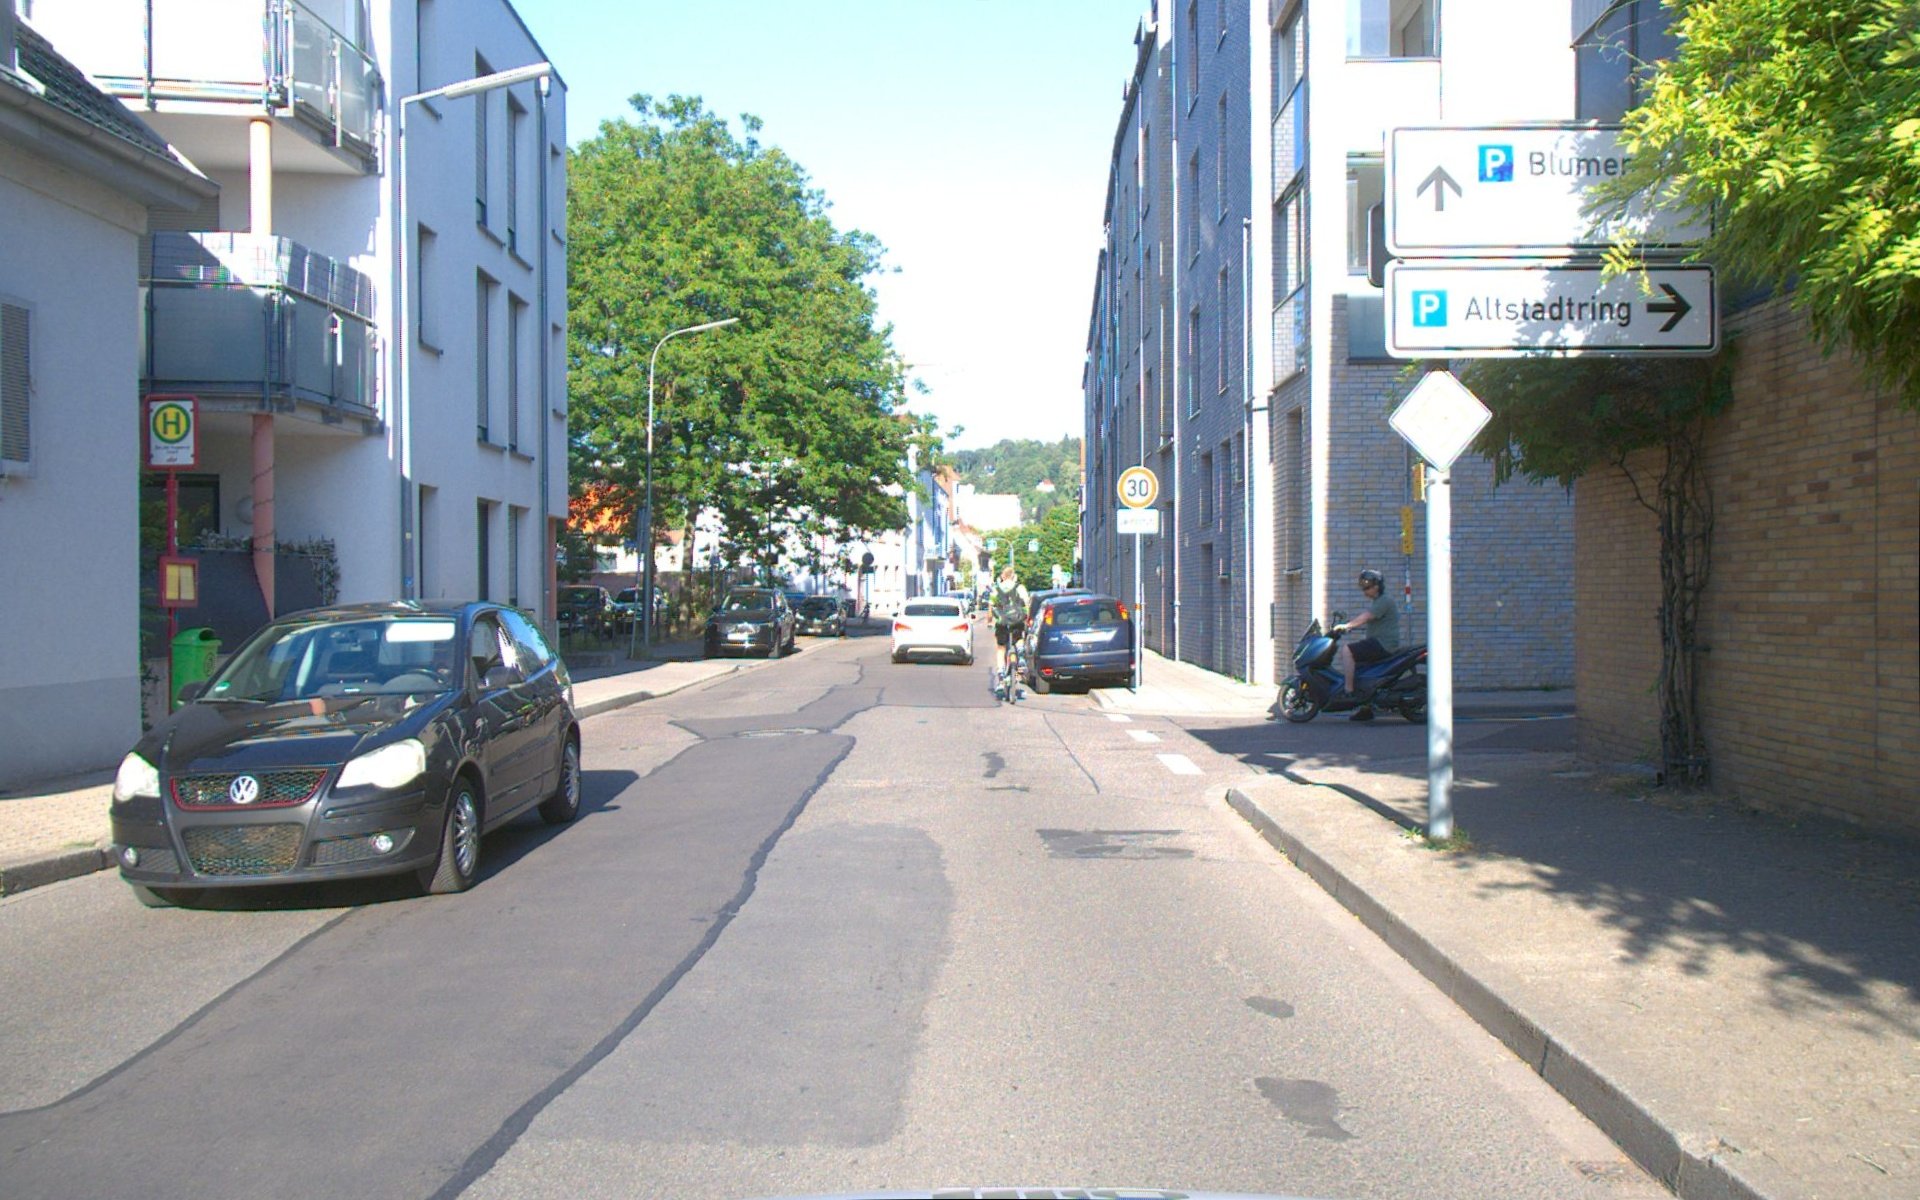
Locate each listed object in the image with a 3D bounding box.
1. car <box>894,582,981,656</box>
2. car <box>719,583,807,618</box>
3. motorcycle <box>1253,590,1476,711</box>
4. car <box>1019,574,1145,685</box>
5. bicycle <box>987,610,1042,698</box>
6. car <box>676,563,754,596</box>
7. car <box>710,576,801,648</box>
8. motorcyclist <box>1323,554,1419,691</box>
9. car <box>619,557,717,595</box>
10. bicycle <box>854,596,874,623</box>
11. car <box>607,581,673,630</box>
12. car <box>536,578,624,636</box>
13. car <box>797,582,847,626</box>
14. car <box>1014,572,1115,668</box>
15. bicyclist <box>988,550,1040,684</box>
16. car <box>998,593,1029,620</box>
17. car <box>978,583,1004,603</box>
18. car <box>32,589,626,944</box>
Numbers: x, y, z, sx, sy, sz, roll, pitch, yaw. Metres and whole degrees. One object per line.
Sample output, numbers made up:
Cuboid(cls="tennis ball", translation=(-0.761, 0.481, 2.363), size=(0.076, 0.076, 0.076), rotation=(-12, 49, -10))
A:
Cuboid(cls="car", translation=(-0.543, 0.405, 36.411), size=(1.805, 1.517, 4.142), rotation=(0, 0, -2))
Cuboid(cls="car", translation=(-9.090, 0.019, 76.519), size=(3.820, 1.603, 1.710), rotation=(0, 0, 1))
Cuboid(cls="motorcycle", translation=(4.583, 0.585, 18.805), size=(2.290, 1.303, 0.894), rotation=(-2, -2, 28))
Cuboid(cls="car", translation=(1.936, 0.454, 27.230), size=(1.597, 1.614, 4.068), rotation=(-3, 0, -2))
Cuboid(cls="bicycle", translation=(0.745, 0.725, 23.069), size=(0.684, 1.150, 2.402), rotation=(0, 0, 0))
Cuboid(cls="car", translation=(-12.319, -1.033, 83.136), size=(3.828, 1.603, 1.707), rotation=(0, 0, -8))
Cuboid(cls="car", translation=(-5.409, 0.291, 44.246), size=(1.815, 1.823, 4.607), rotation=(0, 0, 0))
Cuboid(cls="motorcyclist", translation=(4.667, 0.246, 18.764), size=(0.859, 1.498, 0.894), rotation=(0, -1, 28))
Cuboid(cls="car", translation=(-12.536, -1.024, 71.150), size=(3.819, 1.603, 1.711), rotation=(0, 0, 4))
Cuboid(cls="bicycle", translation=(-4.488, 0.443, 77.693), size=(0.818, 1.239, 2.841), rotation=(0, 0, -1))
Cuboid(cls="car", translation=(-11.757, 0.176, 61.006), size=(1.754, 1.719, 3.963), rotation=(2, 0, -3))
Cuboid(cls="car", translation=(-11.406, 0.182, 49.943), size=(1.821, 1.614, 4.618), rotation=(2, 0, -4))
Cuboid(cls="car", translation=(-5.202, 0.146, 62.725), size=(1.670, 1.603, 3.913), rotation=(0, 0, -1))
Cuboid(cls="car", translation=(1.955, 0.348, 31.869), size=(1.630, 1.732, 3.913), rotation=(0, 0, -1))
Cuboid(cls="bicyclist", translation=(0.748, 0.229, 23.059), size=(0.684, 1.821, 1.040), rotation=(0, -1, 0))
Cuboid(cls="car", translation=(3.753, 0.462, 116.270), size=(1.816, 1.823, 4.604), rotation=(0, 0, -3))
Cuboid(cls="car", translation=(2.692, -0.574, 143.428), size=(1.904, 1.614, 4.624), rotation=(-3, 0, 4))
Cuboid(cls="car", translation=(-3.254, 0.755, 9.512), size=(1.805, 1.517, 4.143), rotation=(-2, 0, -1))
